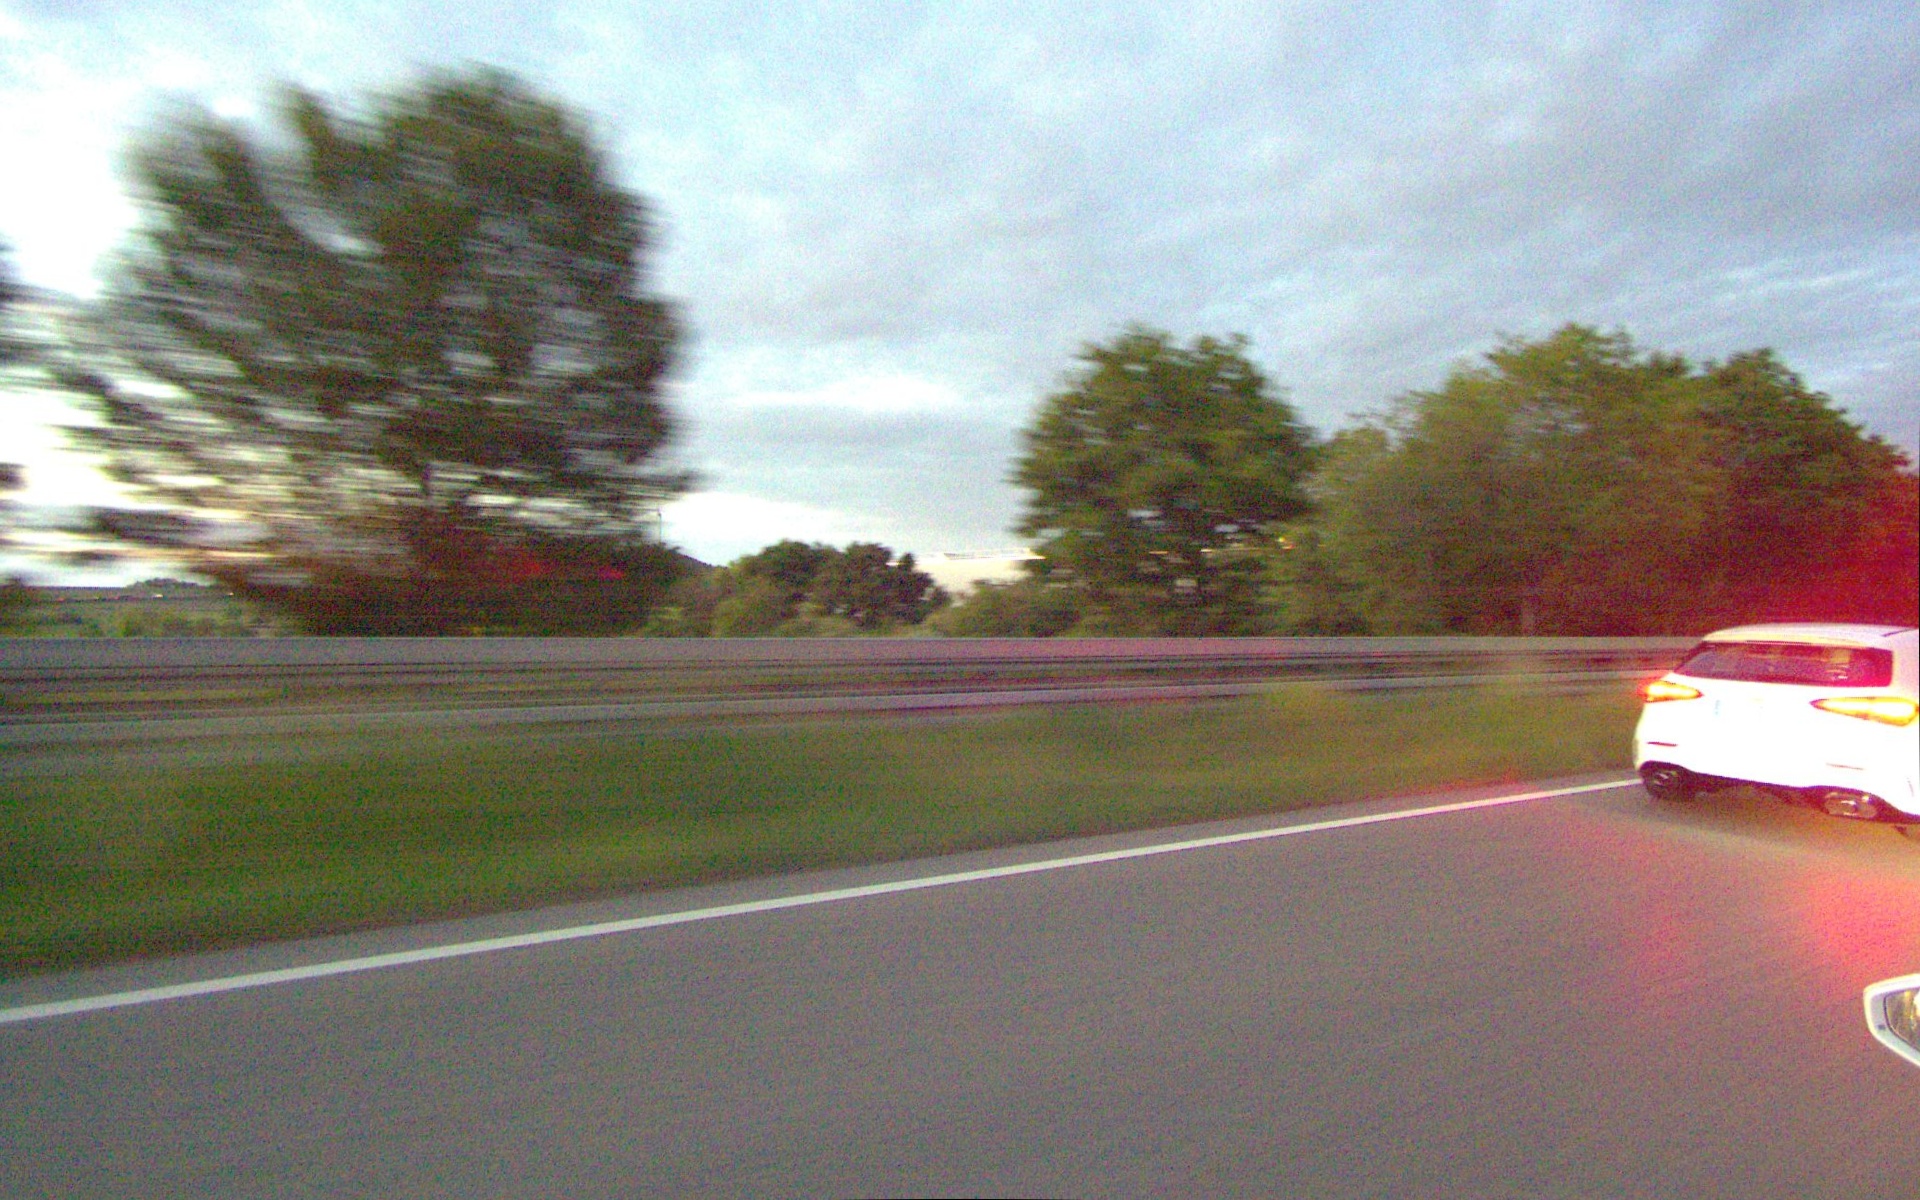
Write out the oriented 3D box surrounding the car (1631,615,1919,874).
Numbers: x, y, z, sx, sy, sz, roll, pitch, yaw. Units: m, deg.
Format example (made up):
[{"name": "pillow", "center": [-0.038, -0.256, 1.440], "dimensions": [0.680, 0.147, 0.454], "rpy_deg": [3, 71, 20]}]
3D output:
[{"name": "car", "center": [7.291, 0.923, 7.826], "dimensions": [4.527, 1.510, 1.634], "rpy_deg": [2, 0, -31]}]
